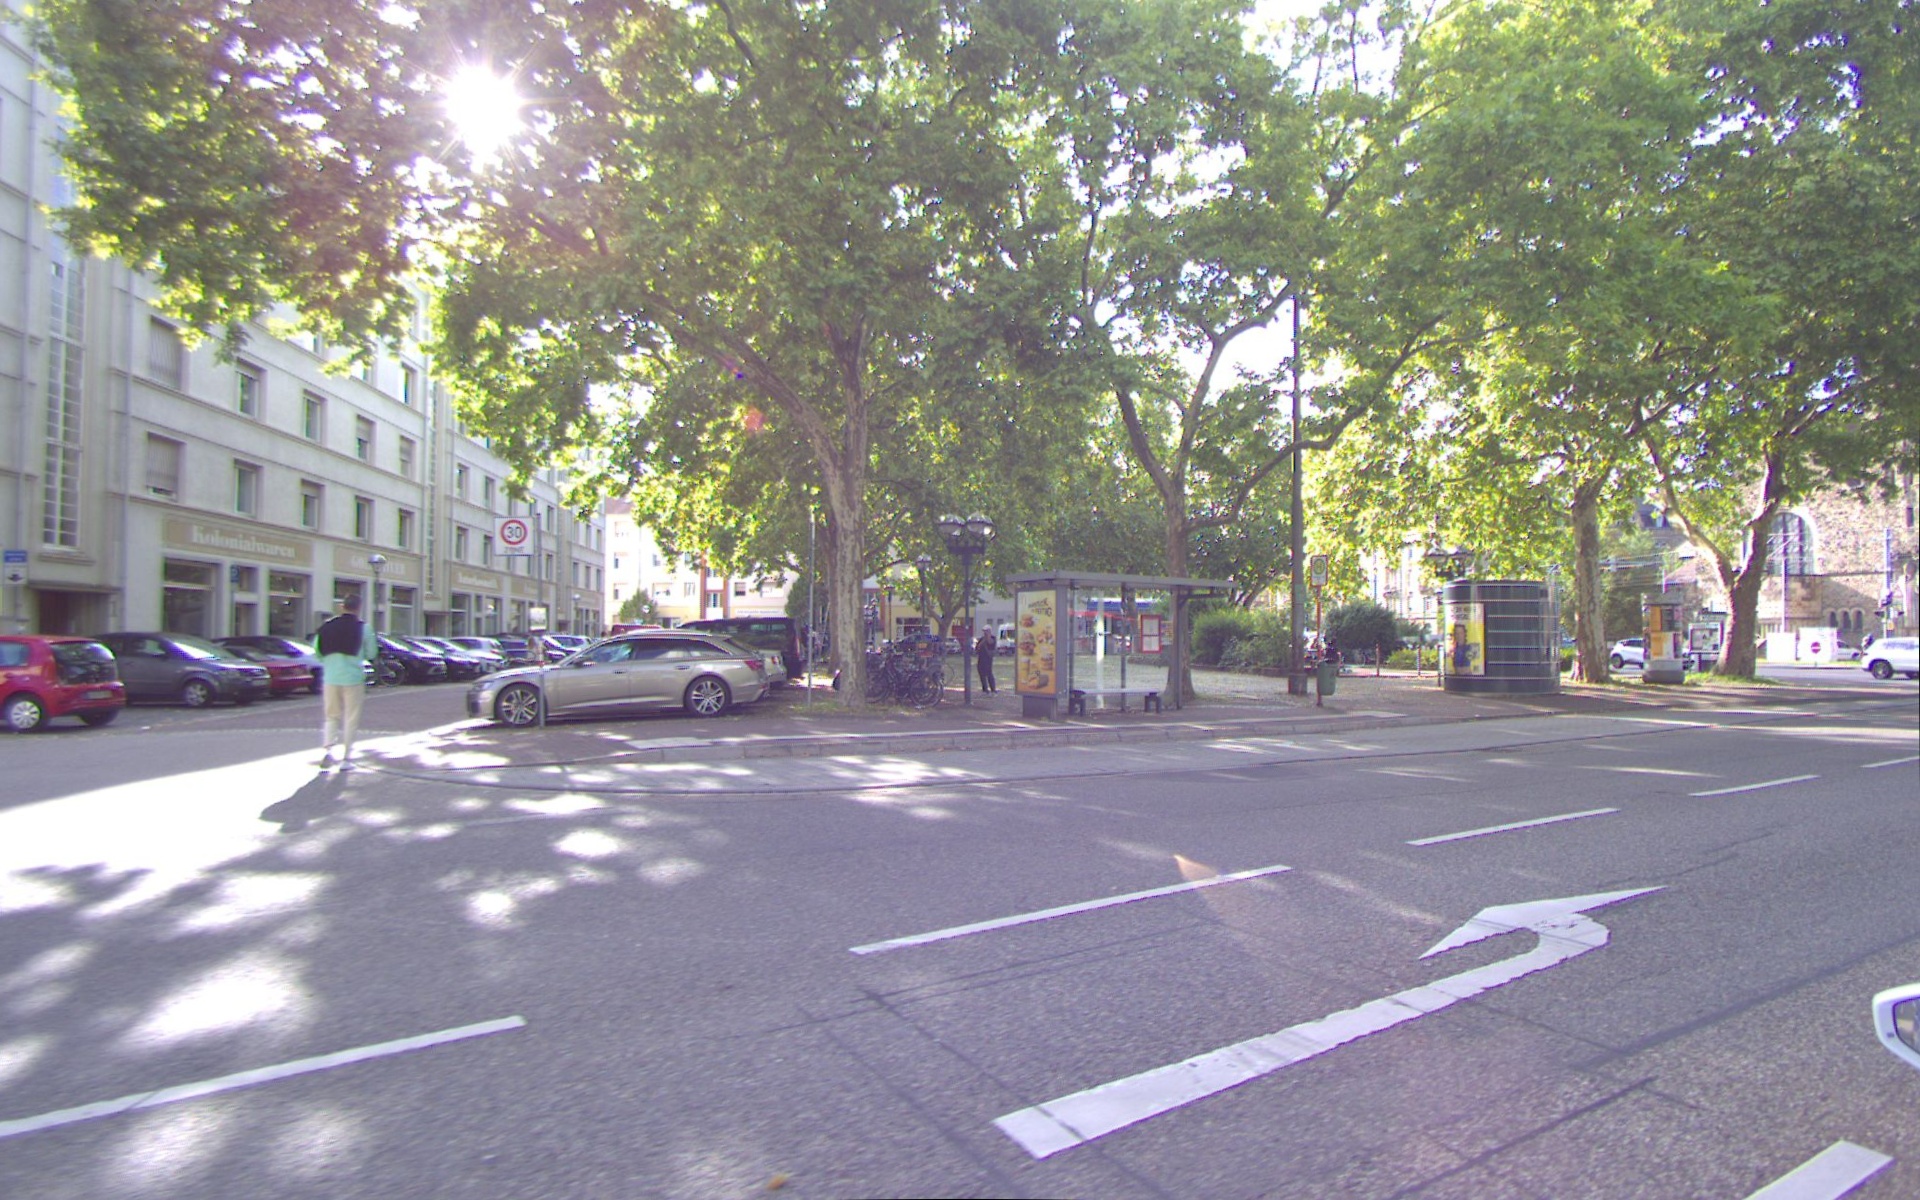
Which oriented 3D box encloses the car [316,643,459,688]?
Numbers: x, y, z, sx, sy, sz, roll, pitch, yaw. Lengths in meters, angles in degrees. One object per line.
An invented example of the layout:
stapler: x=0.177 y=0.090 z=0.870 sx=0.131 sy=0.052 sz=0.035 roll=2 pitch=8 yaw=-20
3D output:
car: x=-17.778 y=2.023 z=31.346 sx=3.496 sy=1.321 sz=1.648 roll=1 pitch=-2 yaw=-11

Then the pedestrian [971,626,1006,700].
pedestrian: x=0.690 y=1.505 z=24.112 sx=0.698 sy=1.738 sz=0.498 roll=1 pitch=-2 yaw=-30

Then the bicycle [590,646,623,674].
bicycle: x=-13.195 y=2.245 z=37.547 sx=0.749 sy=1.007 sz=1.925 roll=0 pitch=-2 yaw=-7

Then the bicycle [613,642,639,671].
bicycle: x=-13.834 y=2.326 z=41.619 sx=0.628 sy=1.146 sz=1.925 roll=0 pitch=-2 yaw=-7

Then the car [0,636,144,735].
car: x=-15.479 y=1.316 z=15.911 sx=3.637 sy=1.497 sz=1.595 roll=0 pitch=-2 yaw=-7

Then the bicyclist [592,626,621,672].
bicyclist: x=-13.196 y=1.829 z=37.508 sx=0.799 sy=1.714 sz=1.112 roll=0 pitch=-2 yaw=-7

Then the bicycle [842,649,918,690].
bicycle: x=-2.207 y=1.921 z=27.714 sx=2.055 sy=1.096 sz=0.702 roll=1 pitch=-2 yaw=-8

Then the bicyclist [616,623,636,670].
bicyclist: x=-13.850 y=1.940 z=41.667 sx=0.626 sy=1.920 sz=0.773 roll=0 pitch=-2 yaw=-7

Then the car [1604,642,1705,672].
car: x=36.205 y=2.937 z=52.499 sx=1.865 sy=1.498 sz=4.253 roll=0 pitch=-2 yaw=-11

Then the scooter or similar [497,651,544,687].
scooter or similar: x=-11.816 y=1.852 z=27.020 sx=0.792 sy=0.935 sz=1.014 roll=0 pitch=-2 yaw=1

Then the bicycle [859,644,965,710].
bicycle: x=-1.024 y=1.576 z=20.832 sx=2.064 sy=1.225 sz=1.392 roll=3 pitch=-2 yaw=-8

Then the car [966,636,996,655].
car: x=1.674 y=3.630 z=81.088 sx=2.071 sy=1.466 sz=4.490 roll=0 pitch=-2 yaw=-4

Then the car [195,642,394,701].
car: x=-15.577 y=1.647 z=23.676 sx=3.496 sy=1.321 sz=1.648 roll=1 pitch=-2 yaw=-11

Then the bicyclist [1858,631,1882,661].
bicyclist: x=52.058 y=2.613 z=57.486 sx=0.705 sy=1.684 sz=0.726 roll=0 pitch=-2 yaw=11

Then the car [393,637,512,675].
car: x=-18.193 y=2.000 z=36.149 sx=3.496 sy=1.321 sz=1.648 roll=1 pitch=-2 yaw=-11

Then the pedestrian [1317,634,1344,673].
pedestrian: x=13.114 y=1.893 z=35.568 sx=0.711 sy=1.305 sz=0.816 roll=2 pitch=0 yaw=34

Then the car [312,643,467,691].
car: x=-16.328 y=1.893 z=28.908 sx=3.496 sy=1.321 sz=1.648 roll=1 pitch=-2 yaw=-11

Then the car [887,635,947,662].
car: x=-2.952 y=3.306 z=68.716 sx=3.927 sy=1.795 sz=1.888 roll=0 pitch=-2 yaw=-9

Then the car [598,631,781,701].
car: x=-6.568 y=1.601 z=24.831 sx=4.199 sy=1.638 sz=1.681 roll=0 pitch=-2 yaw=-10

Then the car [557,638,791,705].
car: x=-6.125 y=1.525 z=22.026 sx=4.750 sy=1.396 sz=1.670 roll=0 pitch=-2 yaw=-10

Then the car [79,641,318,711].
car: x=-15.841 y=1.557 z=21.053 sx=3.638 sy=1.384 sz=1.594 roll=0 pitch=-2 yaw=-8

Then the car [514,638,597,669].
car: x=-19.776 y=2.619 z=49.255 sx=3.496 sy=1.491 sz=1.648 roll=0 pitch=-2 yaw=-11

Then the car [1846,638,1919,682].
car: x=37.892 y=2.346 z=39.237 sx=1.981 sy=1.705 sz=4.712 roll=0 pitch=-2 yaw=-11

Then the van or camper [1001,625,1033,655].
van or camper: x=4.548 y=3.236 z=80.964 sx=2.071 sy=2.359 sz=4.490 roll=0 pitch=-2 yaw=-4

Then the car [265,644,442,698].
car: x=-15.531 y=1.797 z=25.895 sx=3.496 sy=1.321 sz=1.648 roll=1 pitch=-2 yaw=-11

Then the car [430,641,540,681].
car: x=-18.201 y=2.317 z=38.638 sx=3.496 sy=1.492 sz=1.648 roll=0 pitch=-2 yaw=-11

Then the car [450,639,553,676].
car: x=-18.589 y=2.333 z=40.884 sx=3.496 sy=1.463 sz=1.648 roll=0 pitch=-2 yaw=-11

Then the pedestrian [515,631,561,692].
pedestrian: x=-11.852 y=1.722 z=28.224 sx=0.800 sy=1.676 sz=1.076 roll=0 pitch=-2 yaw=1

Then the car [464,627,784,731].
car: x=-5.623 y=1.288 z=17.296 sx=4.894 sy=1.606 sz=2.233 roll=1 pitch=-2 yaw=-17

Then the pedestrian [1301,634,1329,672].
pedestrian: x=12.904 y=1.911 z=36.544 sx=0.709 sy=1.305 sz=0.818 roll=1 pitch=0 yaw=1

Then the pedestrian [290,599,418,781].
pedestrian: x=-6.351 y=0.889 z=10.525 sx=0.913 sy=1.777 sz=1.063 roll=1 pitch=-1 yaw=-44

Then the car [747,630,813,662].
car: x=-11.443 y=2.936 z=63.965 sx=3.925 sy=1.868 sz=1.998 roll=2 pitch=0 yaw=-6

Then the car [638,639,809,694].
car: x=-6.261 y=1.766 z=27.039 sx=4.308 sy=1.396 sz=1.857 roll=0 pitch=-2 yaw=-10
